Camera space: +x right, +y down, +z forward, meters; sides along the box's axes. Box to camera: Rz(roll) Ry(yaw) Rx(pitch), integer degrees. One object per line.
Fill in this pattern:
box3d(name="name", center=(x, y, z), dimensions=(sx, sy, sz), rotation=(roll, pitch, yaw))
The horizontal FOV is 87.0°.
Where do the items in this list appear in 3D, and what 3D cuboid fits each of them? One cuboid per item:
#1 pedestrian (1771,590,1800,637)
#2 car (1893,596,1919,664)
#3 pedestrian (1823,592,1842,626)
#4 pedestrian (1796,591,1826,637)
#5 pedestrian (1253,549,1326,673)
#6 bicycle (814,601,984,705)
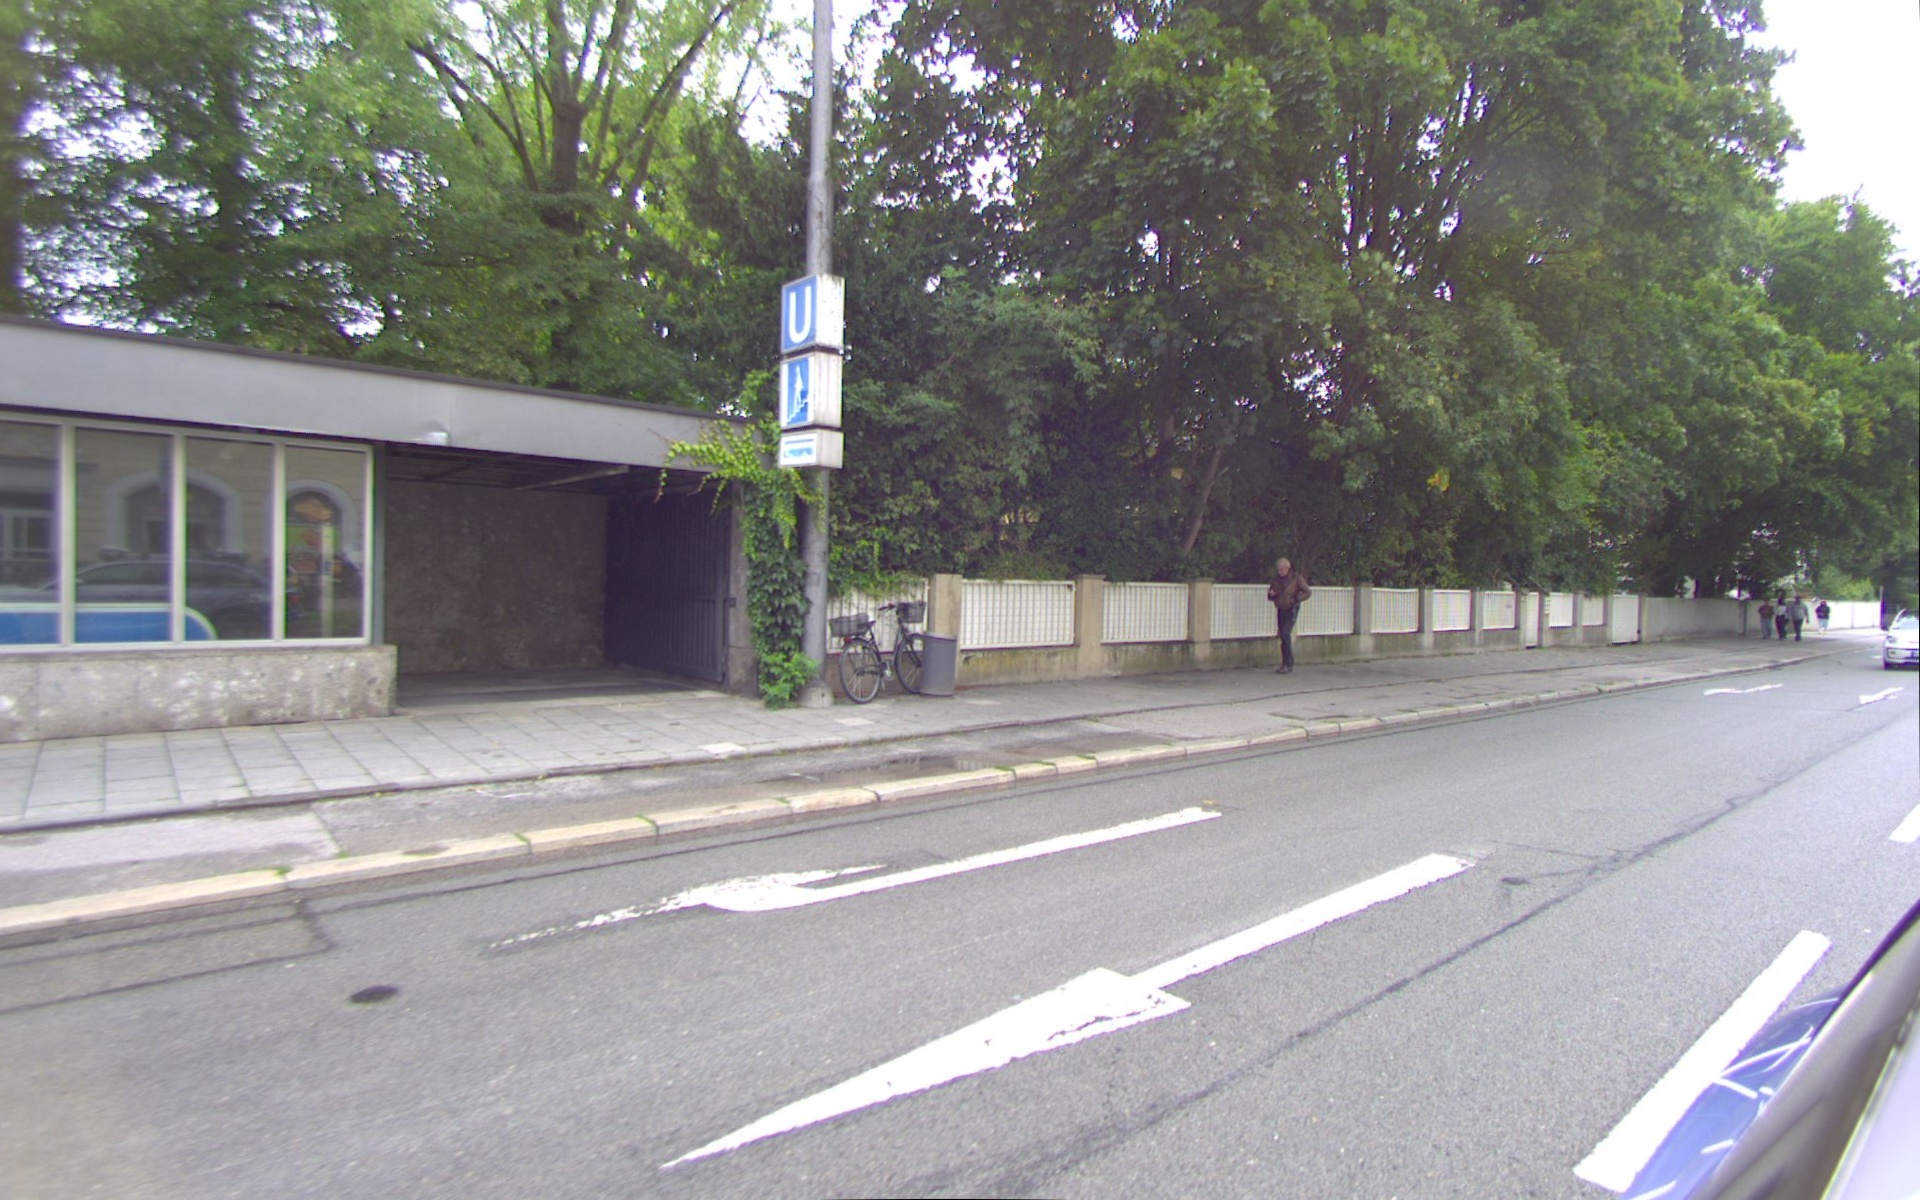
box3d(name="pedestrian", center=(31.714, 0.512, 38.883), dimensions=(0.753, 1.726, 0.667), rotation=(0, 3, -41))
box3d(name="car", center=(23.920, 0.724, 24.476), dimensions=(3.524, 1.581, 1.646), rotation=(0, 1, -42))
box3d(name="pedestrian", center=(42.738, 0.426, 49.562), dimensions=(0.716, 1.600, 0.529), rotation=(0, 3, -42))
box3d(name="pedestrian", center=(32.245, 0.521, 38.341), dimensions=(0.716, 1.713, 0.667), rotation=(0, 3, -41))
box3d(name="pedestrian", center=(5.418, 0.164, 16.657), dimensions=(0.788, 1.966, 0.779), rotation=(1, 2, -40))
box3d(name="bicycle", center=(-0.677, 0.572, 11.746), dimensions=(1.990, 1.104, 0.623), rotation=(0, 1, -41))
